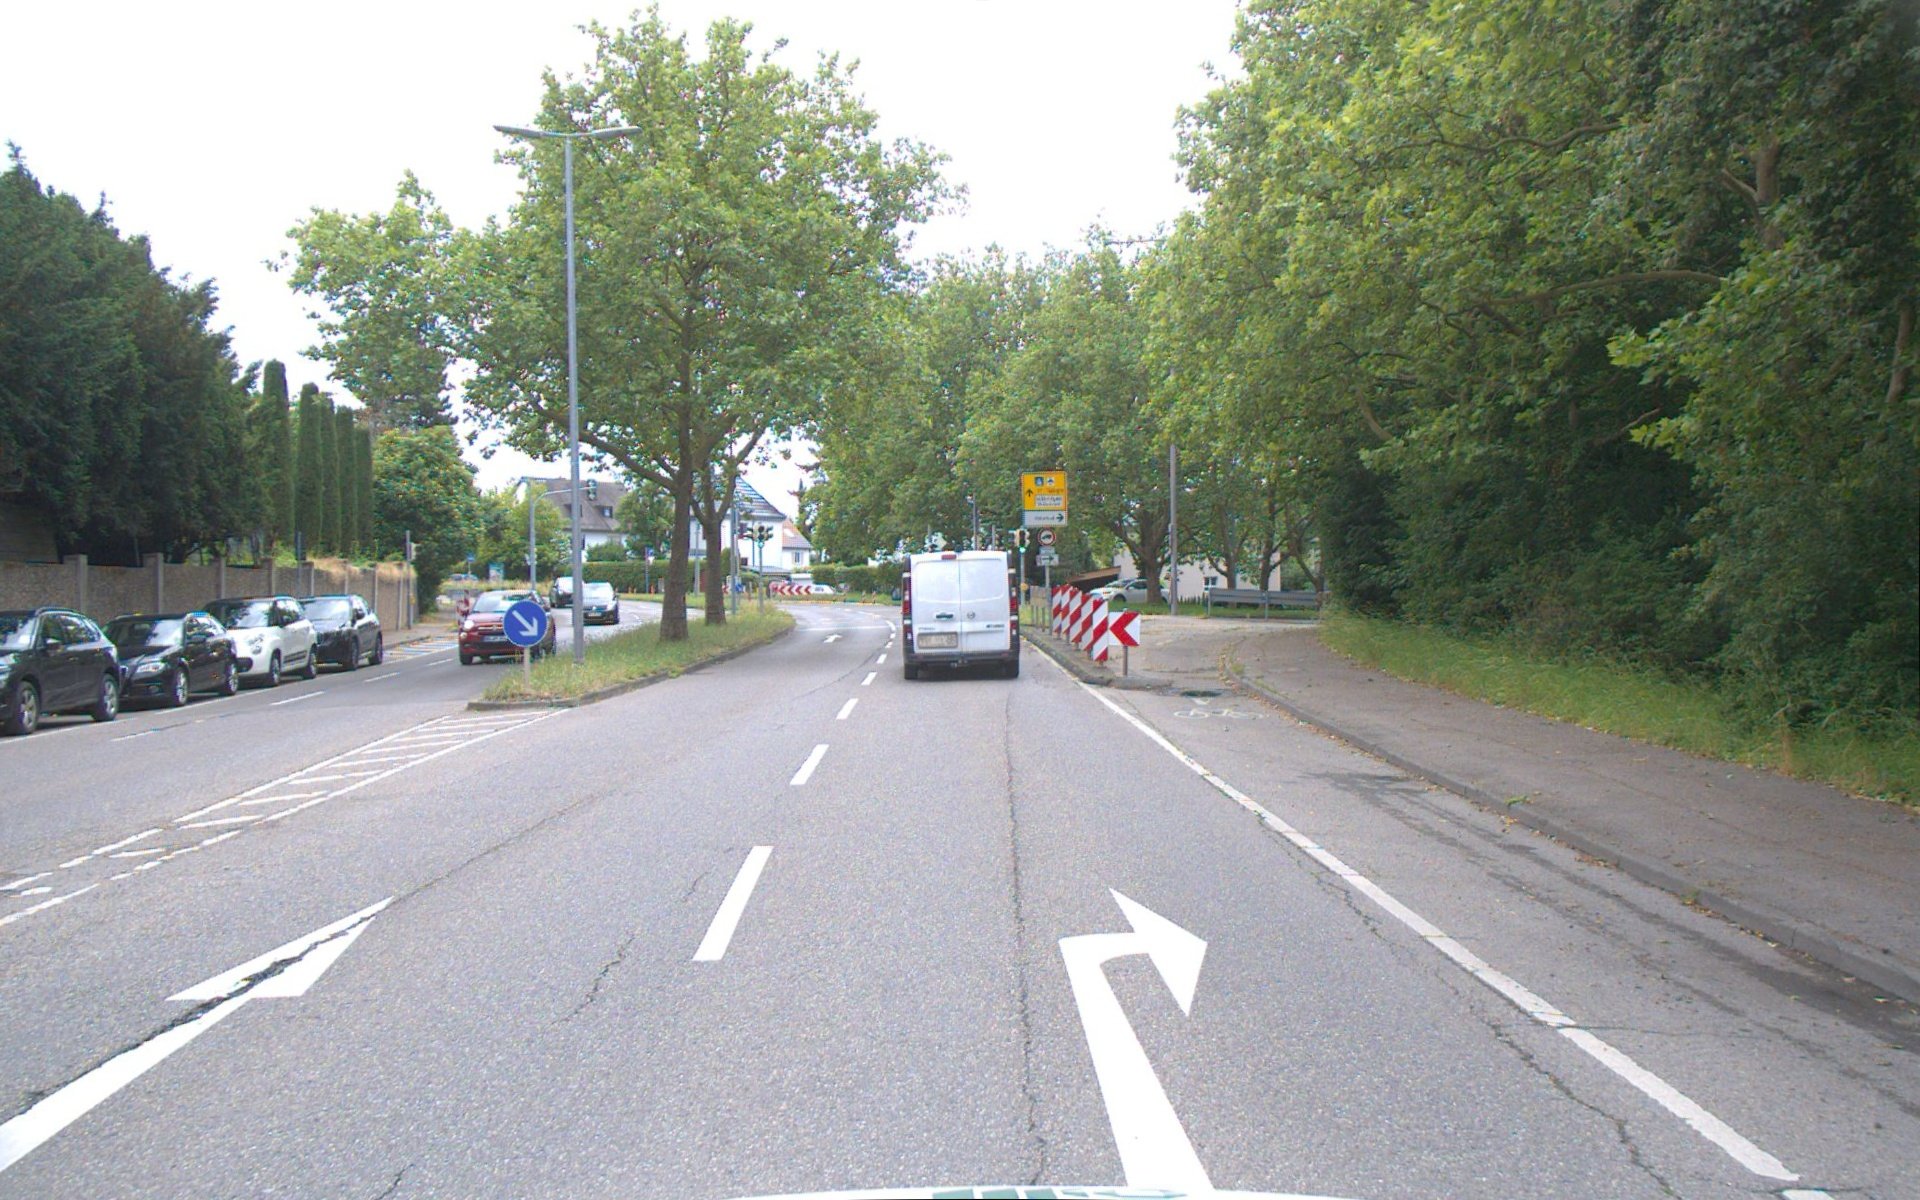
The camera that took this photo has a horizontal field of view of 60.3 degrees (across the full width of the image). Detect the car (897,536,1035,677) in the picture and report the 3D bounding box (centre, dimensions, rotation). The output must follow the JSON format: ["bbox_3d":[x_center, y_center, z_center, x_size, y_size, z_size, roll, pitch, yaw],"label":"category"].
[{"bbox_3d":[-0.005,0.116,27.399,1.966,2.073,5.006,-1,0,-3],"label":"car"}]

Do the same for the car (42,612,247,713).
[{"bbox_3d":[-12.814,0.928,26.267,1.616,1.425,4.215,-1,0,-7],"label":"car"}]

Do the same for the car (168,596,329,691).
[{"bbox_3d":[-13.419,0.762,31.434,1.641,1.620,4.090,-2,0,-7],"label":"car"}]

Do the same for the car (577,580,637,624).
[{"bbox_3d":[-14.021,0.083,65.858,1.960,1.615,3.991,-2,0,-7],"label":"car"}]

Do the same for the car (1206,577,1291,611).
[{"bbox_3d":[15.992,-0.345,91.625,4.692,1.800,1.974,-1,1,-37],"label":"car"}]

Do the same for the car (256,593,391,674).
[{"bbox_3d":[-14.005,0.703,36.628,1.853,1.653,4.422,-1,0,-9],"label":"car"}]

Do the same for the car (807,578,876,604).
[{"bbox_3d":[-8.440,-0.641,117.992,4.644,1.800,1.995,0,0,33],"label":"car"}]

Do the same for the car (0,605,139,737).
[{"bbox_3d":[-12.309,0.874,21.169,1.910,1.538,4.097,-2,0,-7],"label":"car"}]

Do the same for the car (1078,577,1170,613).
[{"bbox_3d":[8.572,-0.287,86.087,4.692,1.800,1.974,-1,1,-37],"label":"car"}]
